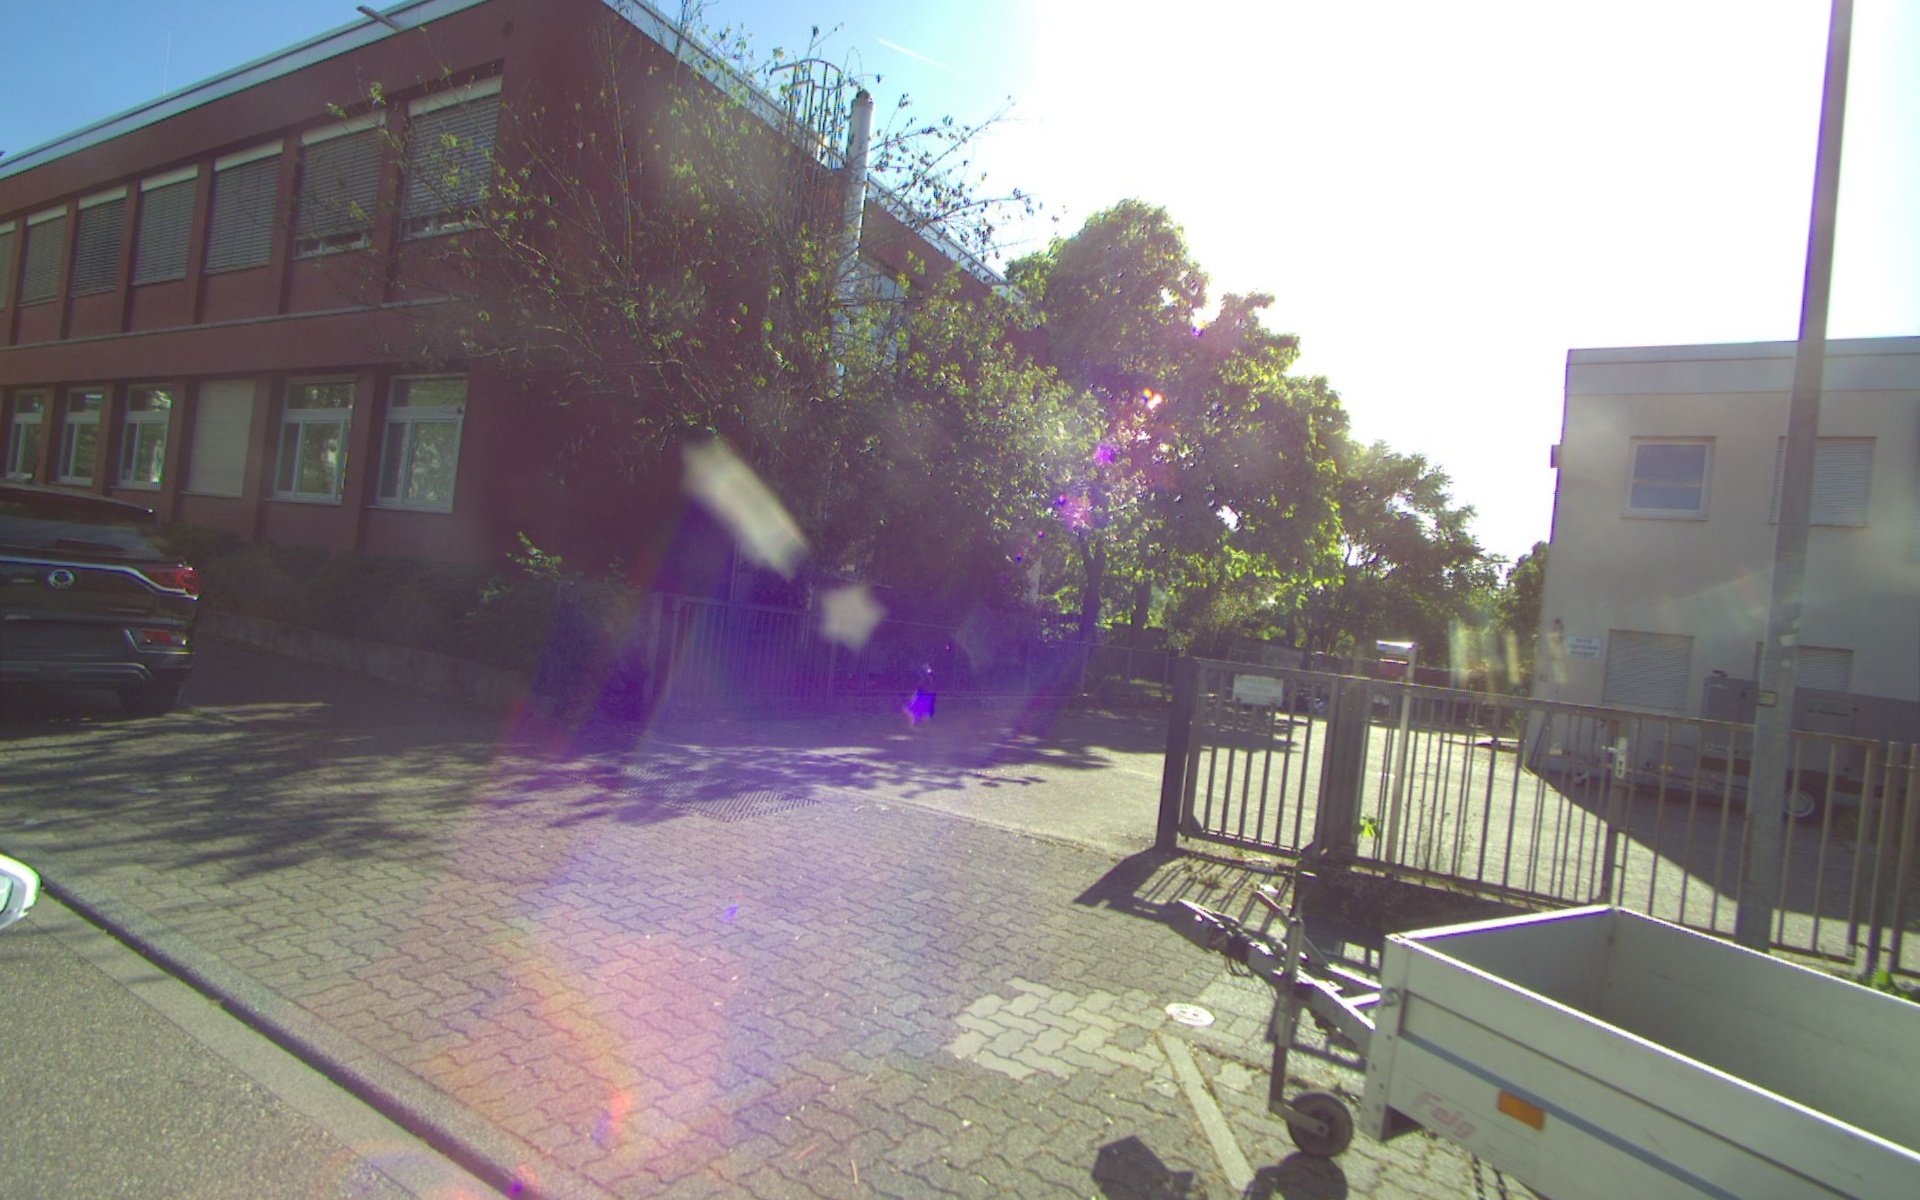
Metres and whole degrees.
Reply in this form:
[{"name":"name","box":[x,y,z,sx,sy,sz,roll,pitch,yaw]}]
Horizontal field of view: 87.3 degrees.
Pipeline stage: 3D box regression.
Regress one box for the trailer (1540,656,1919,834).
[{"name":"trailer","box":[12.311,2.230,16.474,4.691,2.091,1.997,5,-2,32]}]

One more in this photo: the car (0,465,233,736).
[{"name":"car","box":[-7.458,-0.154,7.444,4.132,1.653,1.841,6,-1,32]}]

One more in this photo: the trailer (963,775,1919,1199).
[{"name":"trailer","box":[1.433,1.164,2.370,1.364,0.923,2.911,8,-2,-35]}]
